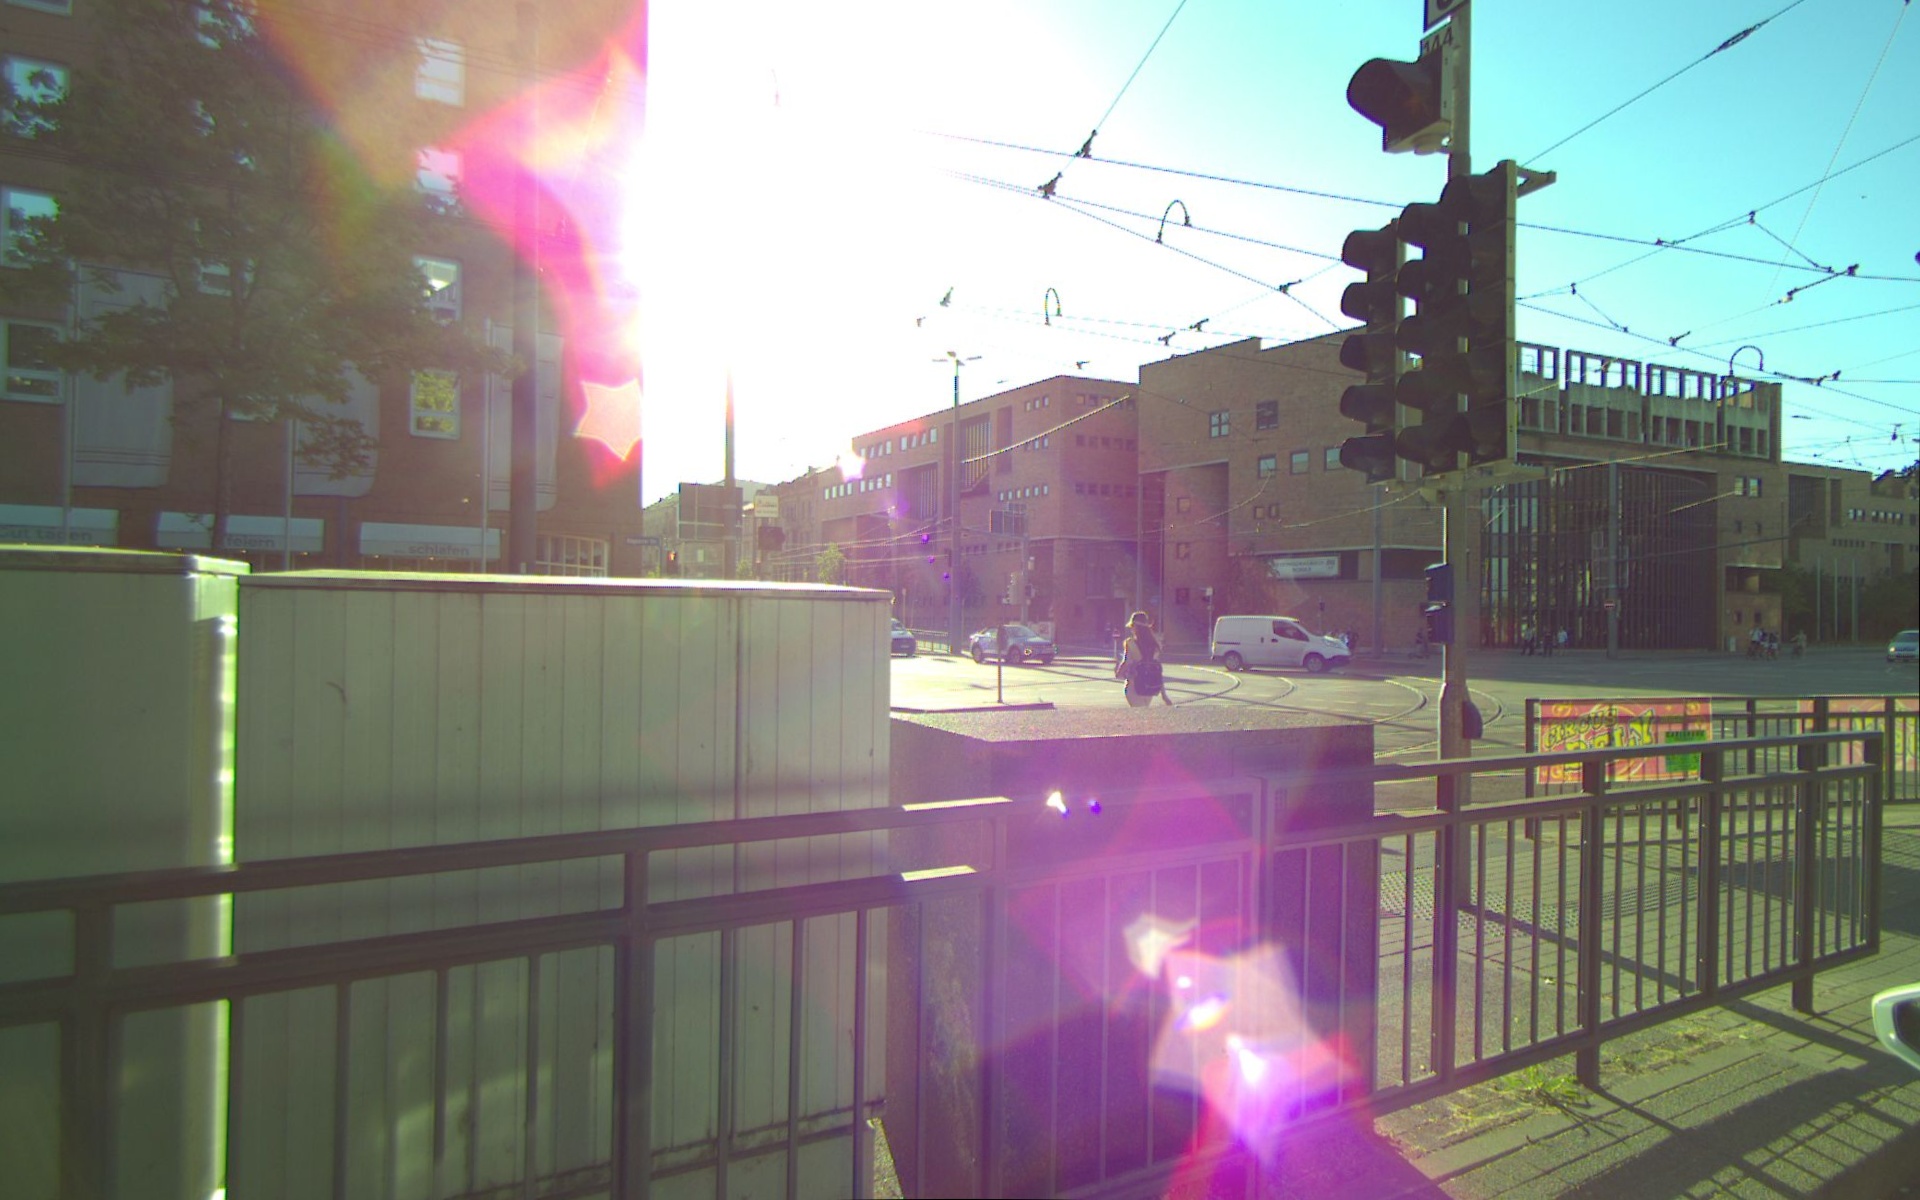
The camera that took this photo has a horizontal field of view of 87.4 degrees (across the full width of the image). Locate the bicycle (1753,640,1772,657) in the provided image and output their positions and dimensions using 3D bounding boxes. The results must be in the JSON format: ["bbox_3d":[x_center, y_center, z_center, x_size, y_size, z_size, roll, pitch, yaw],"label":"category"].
[{"bbox_3d":[46.726,2.797,58.489,1.304,0.976,0.465,1,-1,-30],"label":"bicycle"}]

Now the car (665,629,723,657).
[{"bbox_3d":[-14.305,2.284,53.829,1.729,1.372,3.960,1,-2,-36],"label":"car"}]

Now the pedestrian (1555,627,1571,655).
[{"bbox_3d":[35.520,2.429,59.164,0.610,1.647,0.609,1,-1,-25],"label":"pedestrian"}]

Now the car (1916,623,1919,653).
[{"bbox_3d":[55.249,2.114,55.892,3.954,1.661,1.983,1,-2,-31],"label":"car"}]

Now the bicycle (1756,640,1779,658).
[{"bbox_3d":[44.889,2.706,55.847,1.557,0.976,0.470,1,-1,-30],"label":"bicycle"}]

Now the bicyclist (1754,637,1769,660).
[{"bbox_3d":[46.653,2.815,58.469,0.574,1.321,0.503,1,-1,-30],"label":"bicyclist"}]

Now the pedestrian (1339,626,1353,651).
[{"bbox_3d":[22.556,2.230,58.662,0.611,1.473,0.562,2,-2,-45],"label":"pedestrian"}]

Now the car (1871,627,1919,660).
[{"bbox_3d":[48.980,2.226,51.778,3.954,1.661,1.983,1,-2,-31],"label":"car"}]

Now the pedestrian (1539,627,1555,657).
[{"bbox_3d":[34.049,2.437,58.248,0.545,1.706,0.587,1,-1,-33],"label":"pedestrian"}]

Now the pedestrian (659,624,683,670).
[{"bbox_3d":[-10.514,1.703,36.541,0.658,1.669,0.638,1,-1,-34],"label":"pedestrian"}]

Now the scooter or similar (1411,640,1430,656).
[{"bbox_3d":[25.375,2.640,55.371,0.931,0.911,0.176,0,-1,14],"label":"scooter or similar"}]

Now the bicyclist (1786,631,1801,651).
[{"bbox_3d":[49.371,2.421,59.514,0.574,1.194,0.503,1,-1,-30],"label":"bicyclist"}]

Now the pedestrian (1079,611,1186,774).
[{"bbox_3d":[1.860,0.966,10.916,0.709,1.669,0.953,1,-1,-30],"label":"pedestrian"}]

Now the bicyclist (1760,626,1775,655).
[{"bbox_3d":[44.897,2.245,55.854,0.574,1.624,0.456,1,-1,-30],"label":"bicyclist"}]

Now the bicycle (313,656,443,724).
[{"bbox_3d":[-9.208,1.407,15.946,1.729,1.017,0.448,1,-1,-25],"label":"bicycle"}]

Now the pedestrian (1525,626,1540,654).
[{"bbox_3d":[34.627,2.424,60.771,0.542,1.706,0.570,1,-1,-26],"label":"pedestrian"}]

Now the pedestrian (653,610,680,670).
[{"bbox_3d":[-9.269,1.248,31.695,0.647,1.864,0.835,1,-1,-28],"label":"pedestrian"}]

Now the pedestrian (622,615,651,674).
[{"bbox_3d":[-10.131,1.383,31.461,0.713,1.837,0.904,1,-1,-28],"label":"pedestrian"}]

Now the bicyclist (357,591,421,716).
[{"bbox_3d":[-9.041,0.843,15.937,0.802,1.929,0.569,1,-1,-25],"label":"bicyclist"}]

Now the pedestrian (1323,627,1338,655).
[{"bbox_3d":[21.568,2.379,58.537,0.582,1.635,0.593,1,-1,-31],"label":"pedestrian"}]

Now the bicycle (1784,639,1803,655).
[{"bbox_3d":[49.372,2.783,59.520,1.332,0.976,0.449,1,-1,-30],"label":"bicycle"}]

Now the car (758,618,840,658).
[{"bbox_3d":[-8.346,1.908,51.698,1.982,1.928,5.156,1,-2,-38],"label":"car"}]

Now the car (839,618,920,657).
[{"bbox_3d":[-4.152,1.866,51.037,1.945,1.873,5.286,1,-2,-31],"label":"car"}]

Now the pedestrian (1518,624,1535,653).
[{"bbox_3d":[33.241,2.253,58.966,0.615,1.706,0.645,1,-1,-34],"label":"pedestrian"}]

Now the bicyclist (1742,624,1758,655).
[{"bbox_3d":[44.328,2.198,56.347,0.574,1.754,0.534,1,-1,-30],"label":"bicyclist"}]

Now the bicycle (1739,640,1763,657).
[{"bbox_3d":[44.416,2.710,56.382,1.568,0.976,0.539,1,-1,-30],"label":"bicycle"}]

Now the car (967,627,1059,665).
[{"bbox_3d":[2.107,1.842,40.816,1.616,1.445,4.064,1,-2,-34],"label":"car"}]

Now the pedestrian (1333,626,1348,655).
[{"bbox_3d":[21.808,2.331,57.616,0.543,1.670,0.596,1,-1,-30],"label":"pedestrian"}]

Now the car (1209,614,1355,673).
[{"bbox_3d":[10.872,1.425,33.992,4.447,1.891,1.757,0,-2,32],"label":"car"}]

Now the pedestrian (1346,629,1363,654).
[{"bbox_3d":[22.252,2.340,56.699,0.670,1.357,0.603,1,-1,-14],"label":"pedestrian"}]

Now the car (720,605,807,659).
[{"bbox_3d":[-9.434,1.517,47.918,1.982,2.419,5.156,1,-2,-38],"label":"car"}]

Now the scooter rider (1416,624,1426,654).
[{"bbox_3d":[25.421,2.163,55.374,0.429,1.669,0.229,0,-1,15],"label":"scooter rider"}]
